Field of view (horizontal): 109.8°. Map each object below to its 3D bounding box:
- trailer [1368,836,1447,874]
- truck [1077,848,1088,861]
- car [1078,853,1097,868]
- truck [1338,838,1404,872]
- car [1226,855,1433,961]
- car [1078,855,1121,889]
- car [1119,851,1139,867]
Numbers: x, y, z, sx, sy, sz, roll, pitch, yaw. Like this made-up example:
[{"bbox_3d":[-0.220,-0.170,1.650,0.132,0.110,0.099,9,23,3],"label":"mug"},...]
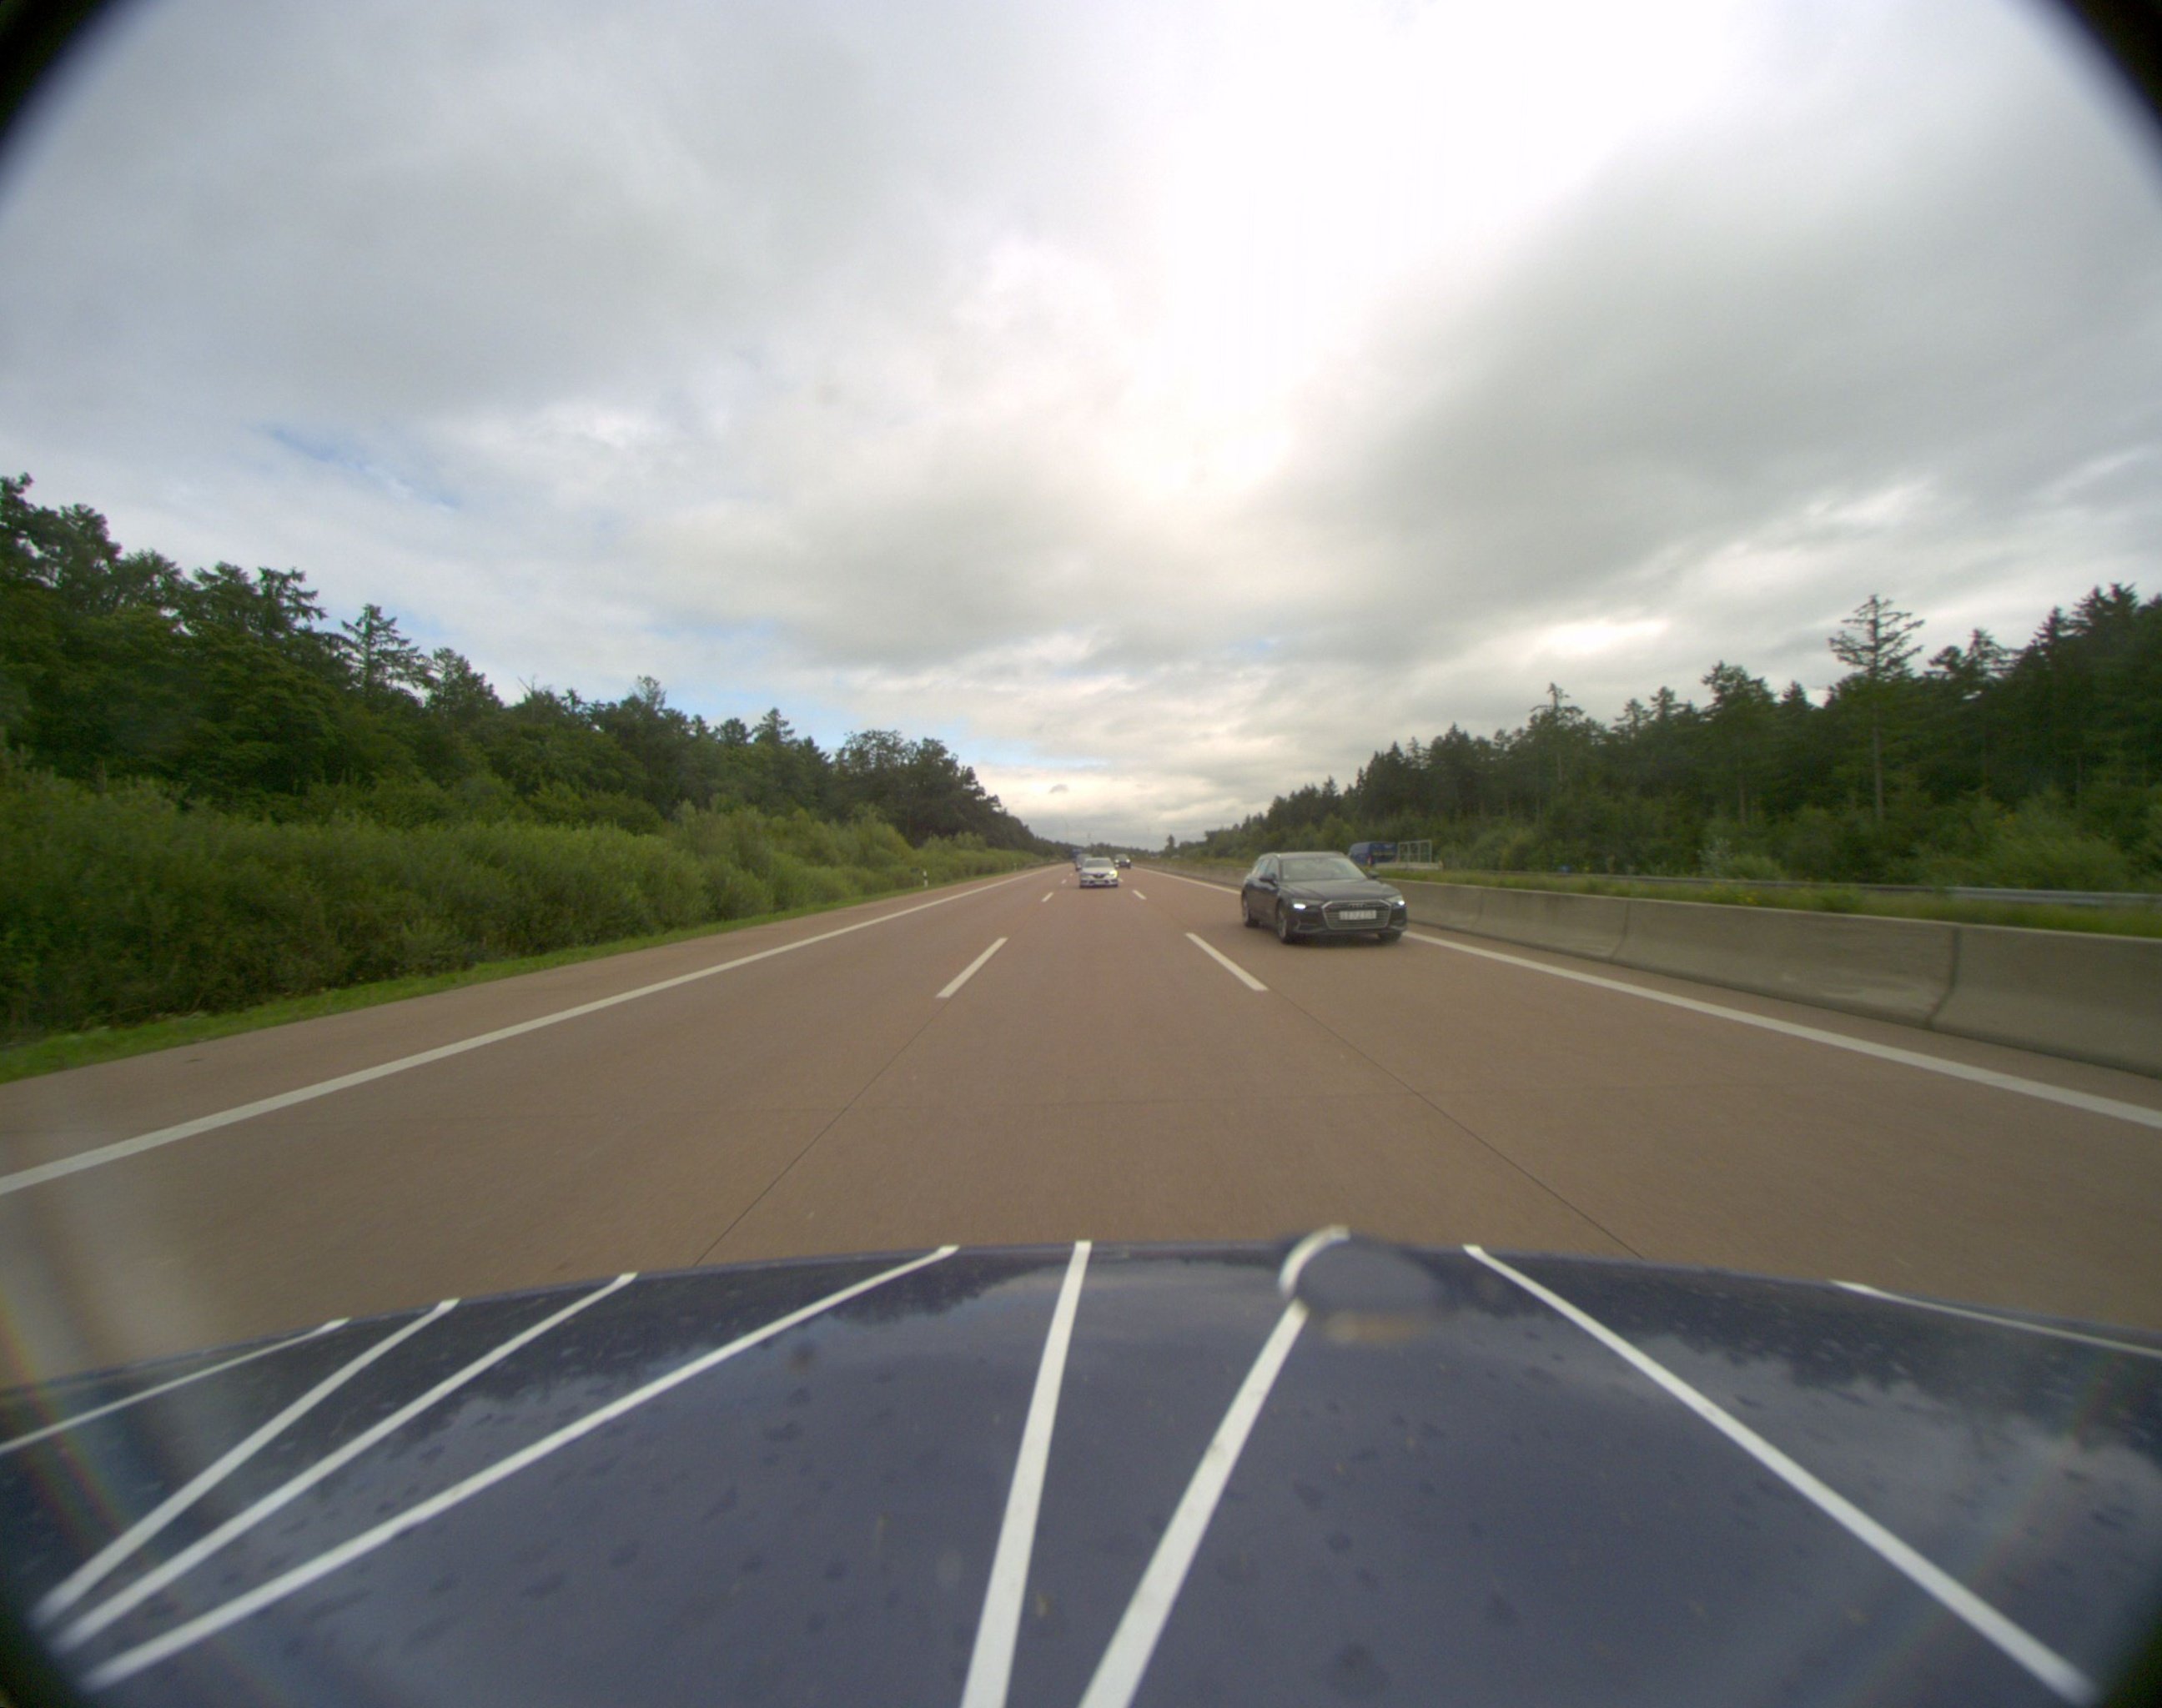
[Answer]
[{"bbox_3d":[20.147,0.069,47.245,2.337,2.149,6.189,-2,0,1],"label":"trailer"},{"bbox_3d":[0.544,0.124,224.136,2.956,3.705,7.950,-5,0,1],"label":"truck"},{"bbox_3d":[0.696,0.702,80.991,1.986,1.499,4.052,-2,0,1],"label":"car"},{"bbox_3d":[20.260,0.057,53.401,2.352,2.149,6.043,-2,0,1],"label":"truck"},{"bbox_3d":[4.199,0.809,13.981,2.064,1.483,5.453,-2,0,1],"label":"car"},{"bbox_3d":[0.954,0.818,36.923,1.923,1.515,4.001,-2,0,3],"label":"car"},{"bbox_3d":[5.572,0.531,88.355,1.998,1.689,5.252,-2,0,1],"label":"car"}]
